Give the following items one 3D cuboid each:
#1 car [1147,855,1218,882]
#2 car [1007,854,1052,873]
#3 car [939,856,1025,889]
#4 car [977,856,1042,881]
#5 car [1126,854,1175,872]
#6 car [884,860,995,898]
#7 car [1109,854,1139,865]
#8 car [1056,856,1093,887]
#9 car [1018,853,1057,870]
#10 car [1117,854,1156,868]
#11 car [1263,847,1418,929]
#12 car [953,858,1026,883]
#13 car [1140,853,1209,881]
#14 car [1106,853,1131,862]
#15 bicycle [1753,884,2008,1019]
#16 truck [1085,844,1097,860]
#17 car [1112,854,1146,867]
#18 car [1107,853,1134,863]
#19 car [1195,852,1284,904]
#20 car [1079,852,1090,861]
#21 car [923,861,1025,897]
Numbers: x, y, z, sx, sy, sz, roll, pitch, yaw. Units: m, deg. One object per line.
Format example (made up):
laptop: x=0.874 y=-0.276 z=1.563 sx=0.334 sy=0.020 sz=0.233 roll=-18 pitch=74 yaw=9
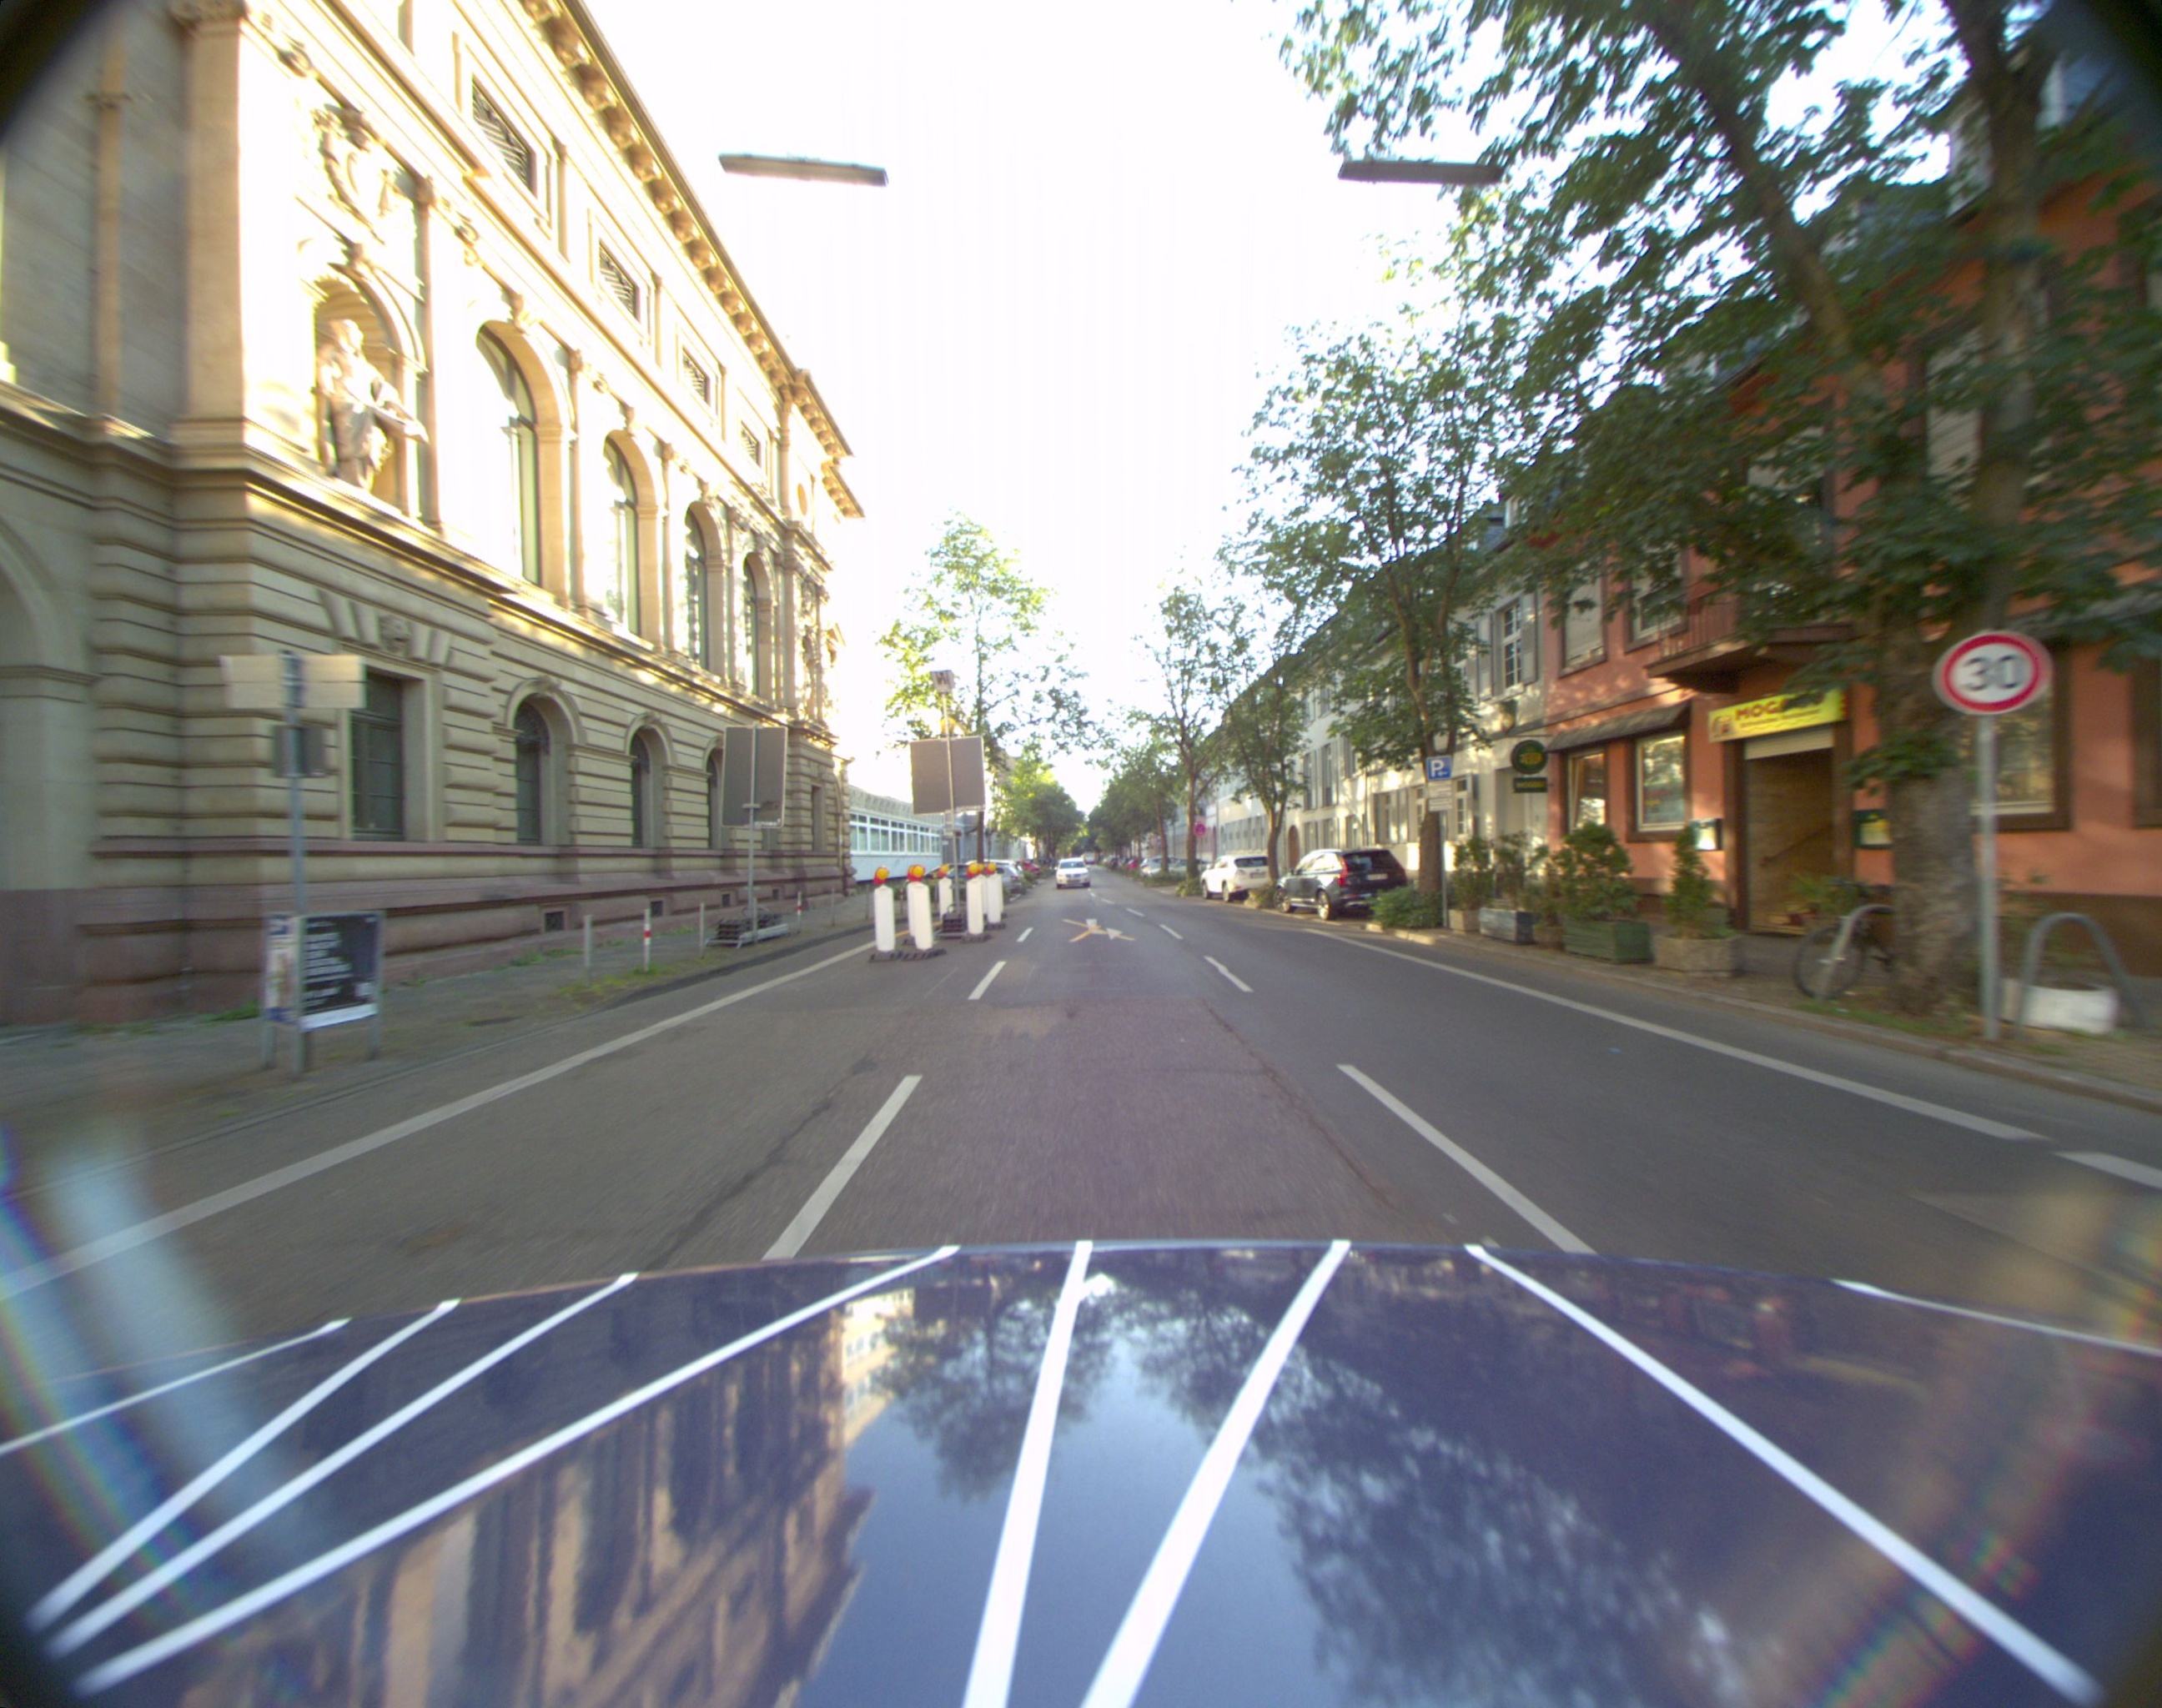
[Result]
car: x=6.254 y=0.897 z=47.340 sx=4.228 sy=1.536 sz=1.801 roll=-1 pitch=0 yaw=3
car: x=-5.026 y=0.900 z=75.008 sx=4.369 sy=1.768 sz=1.733 roll=1 pitch=0 yaw=-2
car: x=-5.298 y=0.973 z=41.162 sx=4.369 sy=1.633 sz=2.054 roll=1 pitch=0 yaw=-2
car: x=-4.863 y=0.987 z=52.087 sx=4.369 sy=1.615 sz=1.733 roll=1 pitch=0 yaw=-2
car: x=6.226 y=0.779 z=68.257 sx=4.230 sy=1.499 sz=1.800 roll=-1 pitch=0 yaw=-2
car: x=-5.898 y=1.047 z=32.069 sx=4.369 sy=1.455 sz=1.833 roll=1 pitch=0 yaw=-4
car: x=6.209 y=0.831 z=110.415 sx=4.230 sy=1.468 sz=1.969 roll=-1 pitch=0 yaw=-2
car: x=-0.353 y=0.948 z=43.183 sx=1.957 sy=1.667 sz=4.542 roll=-1 pitch=0 yaw=0
car: x=-4.976 y=0.831 z=86.647 sx=4.369 sy=1.862 sz=1.733 roll=0 pitch=0 yaw=-2
car: x=6.360 y=0.750 z=87.134 sx=4.230 sy=1.509 sz=1.759 roll=-1 pitch=0 yaw=-2
car: x=6.638 y=0.783 z=20.141 sx=1.833 sy=1.749 sz=5.046 roll=-5 pitch=1 yaw=-6
car: x=-5.613 y=1.038 z=47.076 sx=4.369 sy=1.485 sz=1.886 roll=0 pitch=0 yaw=-2
car: x=6.138 y=0.838 z=50.083 sx=4.230 sy=1.680 sz=1.800 roll=-1 pitch=0 yaw=-2
car: x=6.482 y=0.621 z=132.894 sx=4.230 sy=1.508 sz=1.969 roll=-1 pitch=0 yaw=-2
bicycle: x=7.376 y=0.870 z=7.041 sx=1.872 sy=1.098 sz=0.610 roll=-2 pitch=1 yaw=-6
truck: x=2.507 y=-0.505 z=185.807 sx=2.748 sy=3.723 sz=7.855 roll=-1 pitch=0 yaw=1
car: x=6.178 y=0.825 z=97.942 sx=4.230 sy=1.468 sz=1.853 roll=-1 pitch=0 yaw=-2
car: x=6.395 y=0.669 z=124.410 sx=4.230 sy=1.468 sz=1.969 roll=-1 pitch=0 yaw=-2
car: x=5.864 y=0.840 z=28.674 sx=1.833 sy=1.658 sz=4.654 roll=-5 pitch=1 yaw=-6
car: x=0.681 y=0.514 z=140.598 sx=1.951 sy=1.546 sz=3.999 roll=-1 pitch=0 yaw=-1
car: x=-4.828 y=1.122 z=34.697 sx=4.368 sy=1.486 sz=1.672 roll=1 pitch=0 yaw=0
